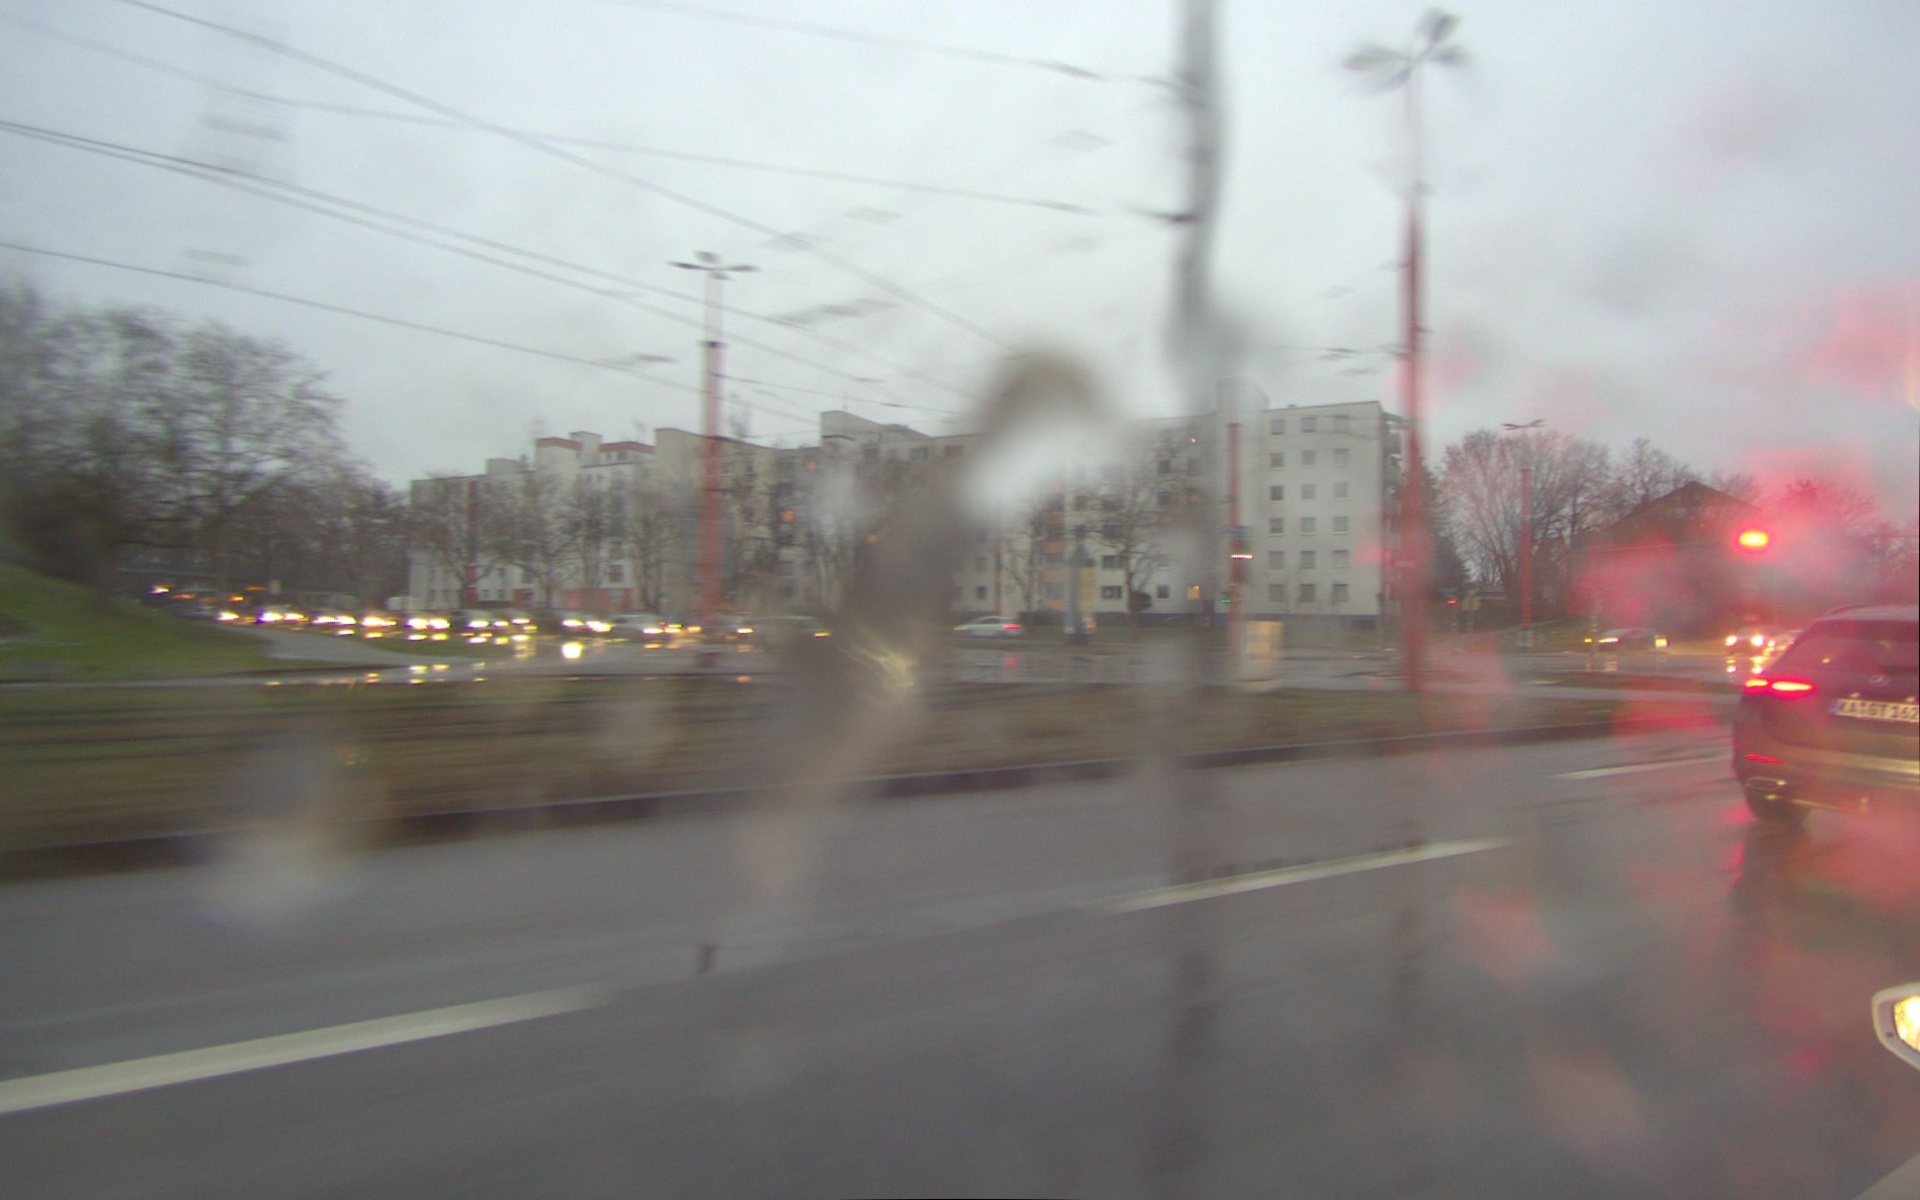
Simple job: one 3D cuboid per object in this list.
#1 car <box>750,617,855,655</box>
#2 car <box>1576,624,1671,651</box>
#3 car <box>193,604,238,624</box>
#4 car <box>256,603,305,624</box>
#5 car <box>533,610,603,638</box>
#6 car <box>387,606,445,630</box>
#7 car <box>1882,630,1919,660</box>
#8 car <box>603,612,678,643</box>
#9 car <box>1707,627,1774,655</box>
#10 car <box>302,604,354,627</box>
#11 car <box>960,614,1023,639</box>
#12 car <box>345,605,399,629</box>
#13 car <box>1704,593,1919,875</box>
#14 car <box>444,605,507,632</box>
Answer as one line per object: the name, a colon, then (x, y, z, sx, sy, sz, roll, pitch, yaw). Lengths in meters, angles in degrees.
car: (-6.789, 1.518, 43.241, 4.365, 1.565, 1.847, 0, -1, 33)
car: (40.164, 2.270, 60.883, 4.394, 1.550, 2.001, 1, -1, 8)
car: (-60.654, 1.157, 81.775, 3.913, 1.565, 1.708, 0, -1, 33)
car: (-51.248, 1.035, 75.731, 3.913, 1.565, 1.708, 0, -1, 33)
car: (-22.098, 1.342, 56.578, 3.932, 1.565, 1.708, 0, -1, 33)
car: (-35.527, 1.176, 65.576, 3.932, 1.565, 1.708, 0, -1, 33)
car: (48.283, 2.243, 50.784, 3.288, 1.439, 1.643, 1, -1, -31)
car: (-16.894, 1.447, 53.063, 3.932, 1.565, 1.708, 0, -1, 33)
car: (43.485, 2.269, 55.952, 3.970, 1.515, 1.610, 1, -1, -31)
car: (-45.237, 1.100, 71.866, 3.913, 1.565, 1.708, 0, -1, 33)
car: (2.105, 1.762, 67.245, 3.926, 1.661, 1.535, 0, -1, 27)
car: (-40.247, 1.154, 68.723, 3.760, 1.565, 1.708, 0, -1, 33)
car: (7.487, 0.846, 7.257, 4.414, 1.670, 1.814, 1, -1, -30)
car: (-29.795, 1.130, 61.725, 3.932, 1.565, 1.708, 0, -1, 33)
